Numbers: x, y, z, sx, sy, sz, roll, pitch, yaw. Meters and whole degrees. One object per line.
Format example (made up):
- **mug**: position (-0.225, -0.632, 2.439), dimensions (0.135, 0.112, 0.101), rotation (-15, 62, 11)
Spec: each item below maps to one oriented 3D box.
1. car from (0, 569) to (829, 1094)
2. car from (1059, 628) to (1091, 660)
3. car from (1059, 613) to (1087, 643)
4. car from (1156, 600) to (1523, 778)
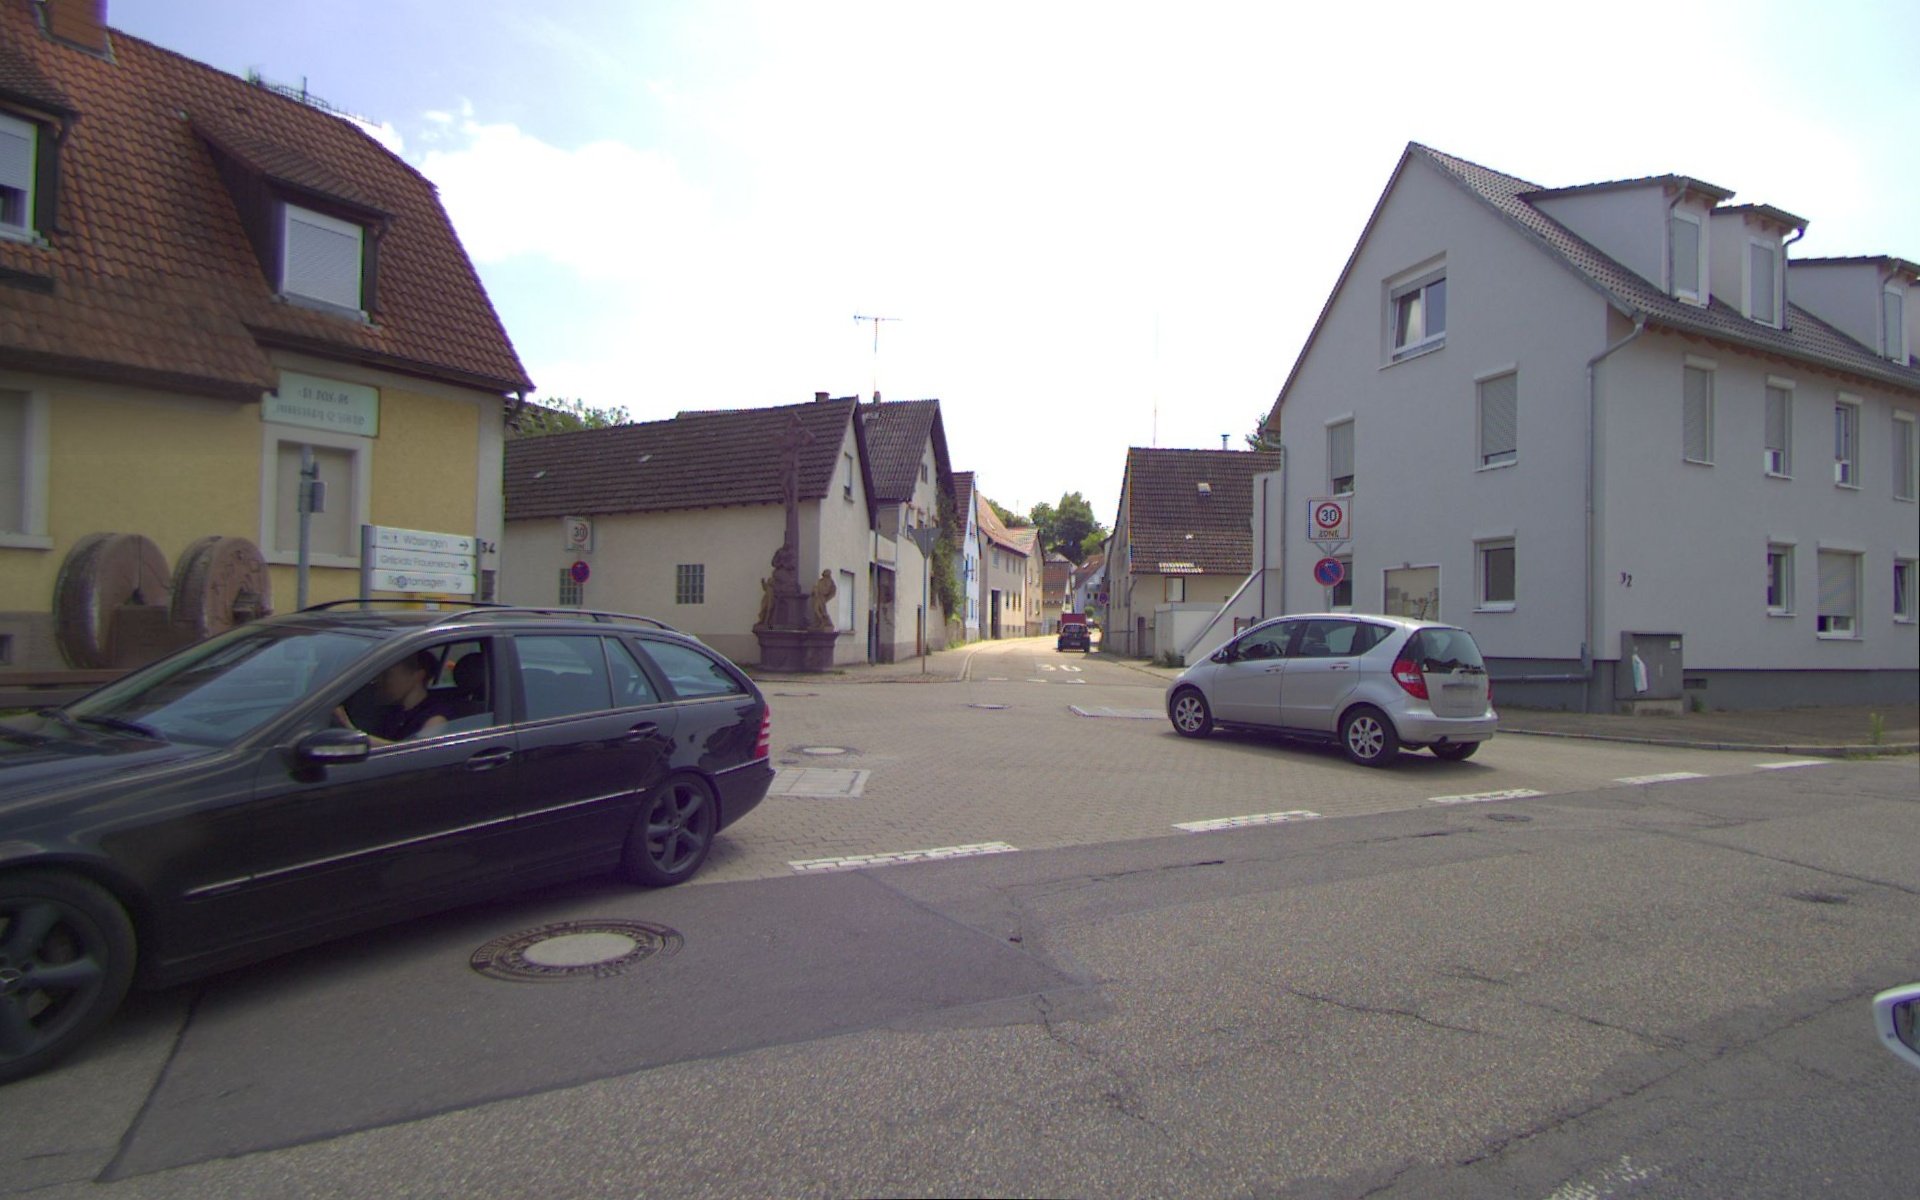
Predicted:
- **car**: position (-2.648, 0.698, 4.771), dimensions (1.780, 1.430, 4.634), rotation (2, -2, 25)
- **car**: position (6.057, 2.332, 53.303), dimensions (1.461, 1.550, 3.478), rotation (3, -2, 4)
- **car**: position (6.609, 1.650, 58.869), dimensions (1.369, 1.656, 3.478), rotation (3, -2, 4)
- **car**: position (4.284, 0.902, 11.869), dimensions (1.796, 1.665, 3.696), rotation (2, 0, -32)
